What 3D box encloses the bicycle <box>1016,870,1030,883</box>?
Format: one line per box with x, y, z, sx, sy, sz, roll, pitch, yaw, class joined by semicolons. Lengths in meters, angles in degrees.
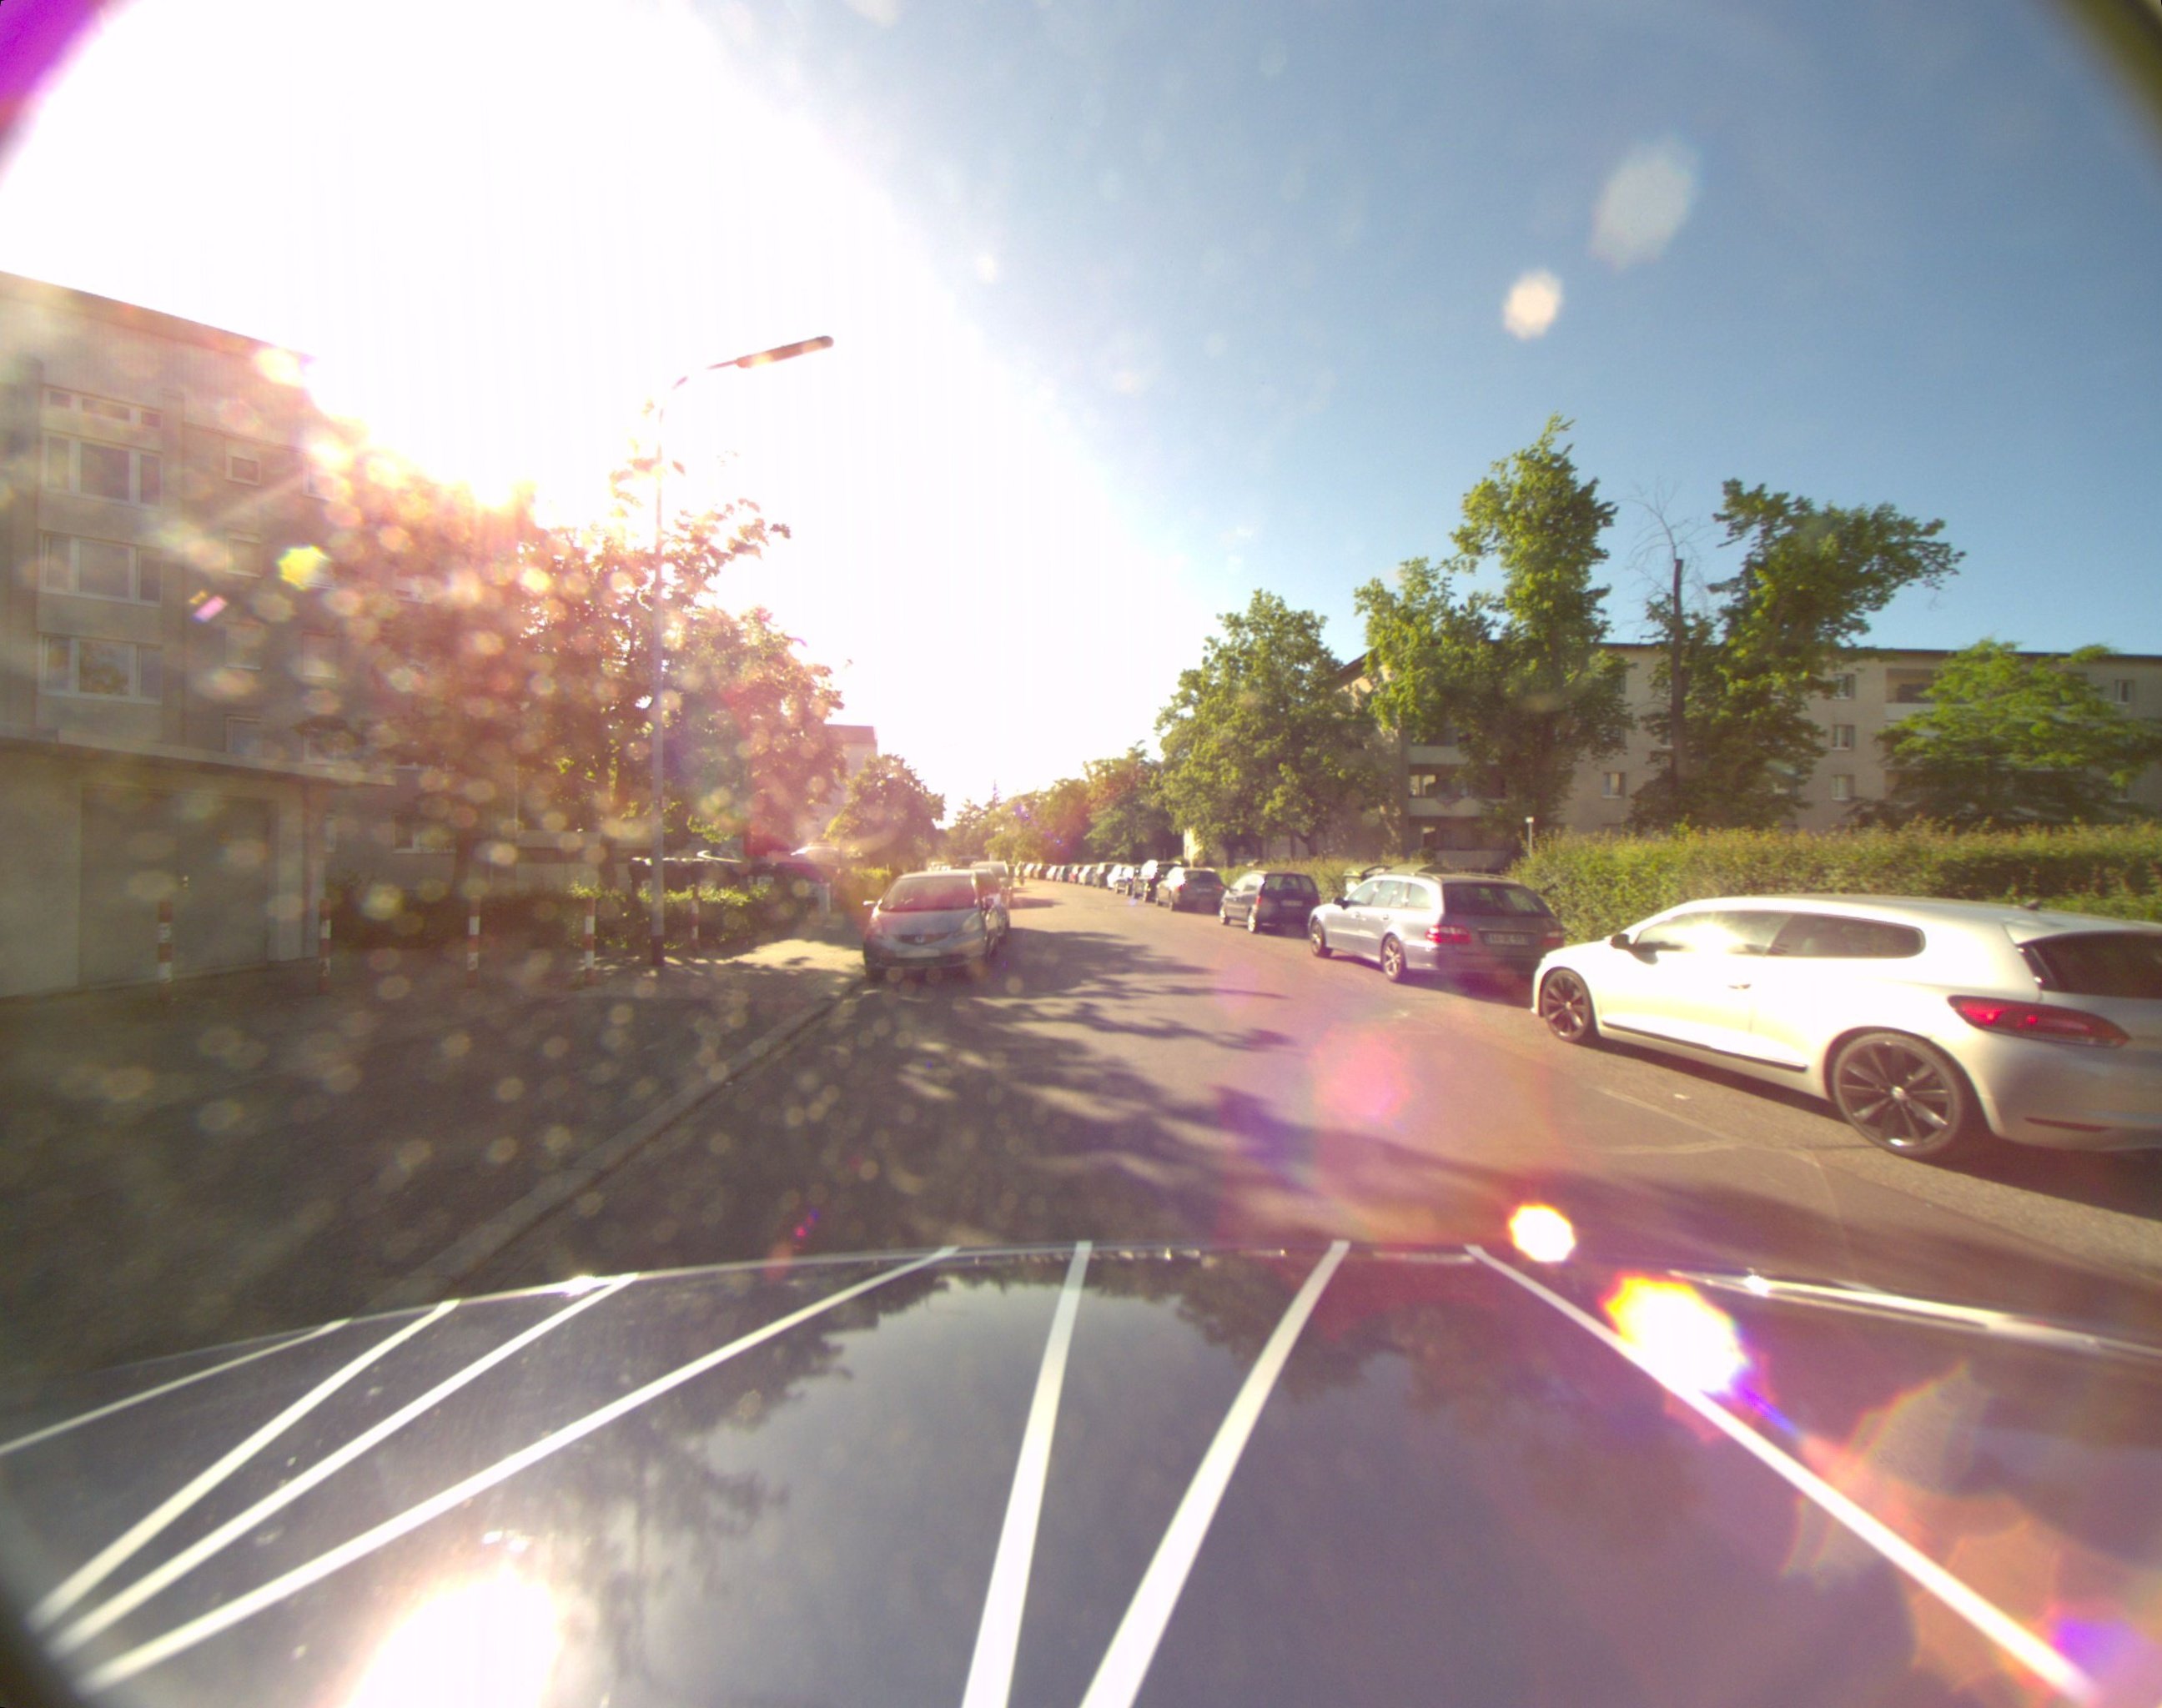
-4.055;1.553;52.978;0.824;0.895;2.201;-1;0;-8;bicycle

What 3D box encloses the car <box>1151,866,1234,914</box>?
3.739;1.173;26.254;1.759;1.377;4.672;1;0;-5;car

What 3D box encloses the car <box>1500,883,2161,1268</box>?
5.046;1.025;5.279;1.759;1.416;4.209;2;0;-3;car

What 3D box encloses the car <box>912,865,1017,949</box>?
-2.412;1.043;16.759;1.836;1.537;4.639;-1;0;-3;car

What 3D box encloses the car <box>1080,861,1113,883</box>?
1.099;1.290;55.908;1.812;1.469;3.938;1;0;-7;car

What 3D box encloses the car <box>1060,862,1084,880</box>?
-0.827;1.493;67.813;1.659;1.469;3.103;1;0;-9;car

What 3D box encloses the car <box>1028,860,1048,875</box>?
-4.901;1.522;85.738;1.659;1.621;3.686;1;0;-13;car

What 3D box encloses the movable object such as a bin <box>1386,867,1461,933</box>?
7.947;1.031;17.674;1.005;1.407;1.326;-3;0;-6;movable object such as a bin

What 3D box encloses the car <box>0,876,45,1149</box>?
-7.892;0.882;3.165;4.195;1.486;1.817;-1;0;-7;car

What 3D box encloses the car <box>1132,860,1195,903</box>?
3.347;1.083;31.750;1.759;1.658;4.388;1;0;-5;car

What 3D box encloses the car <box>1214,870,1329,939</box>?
4.532;1.160;18.600;1.653;1.455;3.494;1;0;-5;car

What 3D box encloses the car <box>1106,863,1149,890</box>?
2.589;1.249;43.237;1.759;1.428;4.149;1;0;-5;car

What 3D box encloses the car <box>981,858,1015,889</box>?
-4.705;1.055;42.607;1.760;1.664;4.410;-1;0;-8;car

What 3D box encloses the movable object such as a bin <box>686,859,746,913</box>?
-10.597;0.907;22.125;1.329;1.528;1.028;-1;0;-10;movable object such as a bin

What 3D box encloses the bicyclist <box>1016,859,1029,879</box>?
-4.058;1.048;52.933;0.813;1.348;1.090;-1;0;-7;bicyclist

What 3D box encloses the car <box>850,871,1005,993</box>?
-2.168;1.047;11.705;1.809;1.486;3.794;-1;0;-3;car

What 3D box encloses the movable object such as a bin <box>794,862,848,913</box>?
-7.728;0.988;22.621;1.329;1.419;1.069;2;0;-10;movable object such as a bin

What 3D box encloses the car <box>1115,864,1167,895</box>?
2.868;1.223;37.086;1.643;1.377;4.168;1;0;-8;car

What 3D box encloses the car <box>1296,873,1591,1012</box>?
4.858;1.077;11.164;1.759;1.481;4.900;3;-1;-3;car

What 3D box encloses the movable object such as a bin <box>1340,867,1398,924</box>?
7.701;1.080;20.374;0.897;1.407;1.326;-3;0;-6;movable object such as a bin

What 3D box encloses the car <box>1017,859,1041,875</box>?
-6.274;1.508;91.779;1.887;1.857;5.432;1;0;-15;car

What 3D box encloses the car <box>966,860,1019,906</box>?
-3.338;1.048;29.429;1.759;1.617;4.494;-1;0;-3;car

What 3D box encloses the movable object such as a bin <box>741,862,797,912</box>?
-9.175;0.955;22.393;1.329;1.422;1.028;0;0;-10;movable object such as a bin

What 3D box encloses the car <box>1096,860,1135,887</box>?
2.182;1.228;49.032;1.812;1.596;4.430;1;0;-7;car

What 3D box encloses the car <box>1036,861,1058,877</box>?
-3.609;1.526;80.169;1.659;1.621;4.068;1;0;-10;car

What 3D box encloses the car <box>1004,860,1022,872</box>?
-9.276;1.647;103.395;1.660;1.558;3.685;1;0;-16;car

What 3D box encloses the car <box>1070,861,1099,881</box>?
0.263;1.332;61.049;1.636;1.469;3.876;1;0;-9;car

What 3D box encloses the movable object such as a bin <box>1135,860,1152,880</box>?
4.520;1.149;54.795;0.897;1.407;1.264;-3;0;-9;movable object such as a bin

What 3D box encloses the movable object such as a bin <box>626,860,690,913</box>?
-12.111;0.914;21.825;1.326;1.472;1.028;-1;0;-10;movable object such as a bin

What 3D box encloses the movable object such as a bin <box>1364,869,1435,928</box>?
7.967;1.085;19.048;1.122;1.358;1.256;-3;0;-6;movable object such as a bin

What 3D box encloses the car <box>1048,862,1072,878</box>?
-2.043;1.519;72.882;1.659;1.469;3.732;1;0;-12;car
